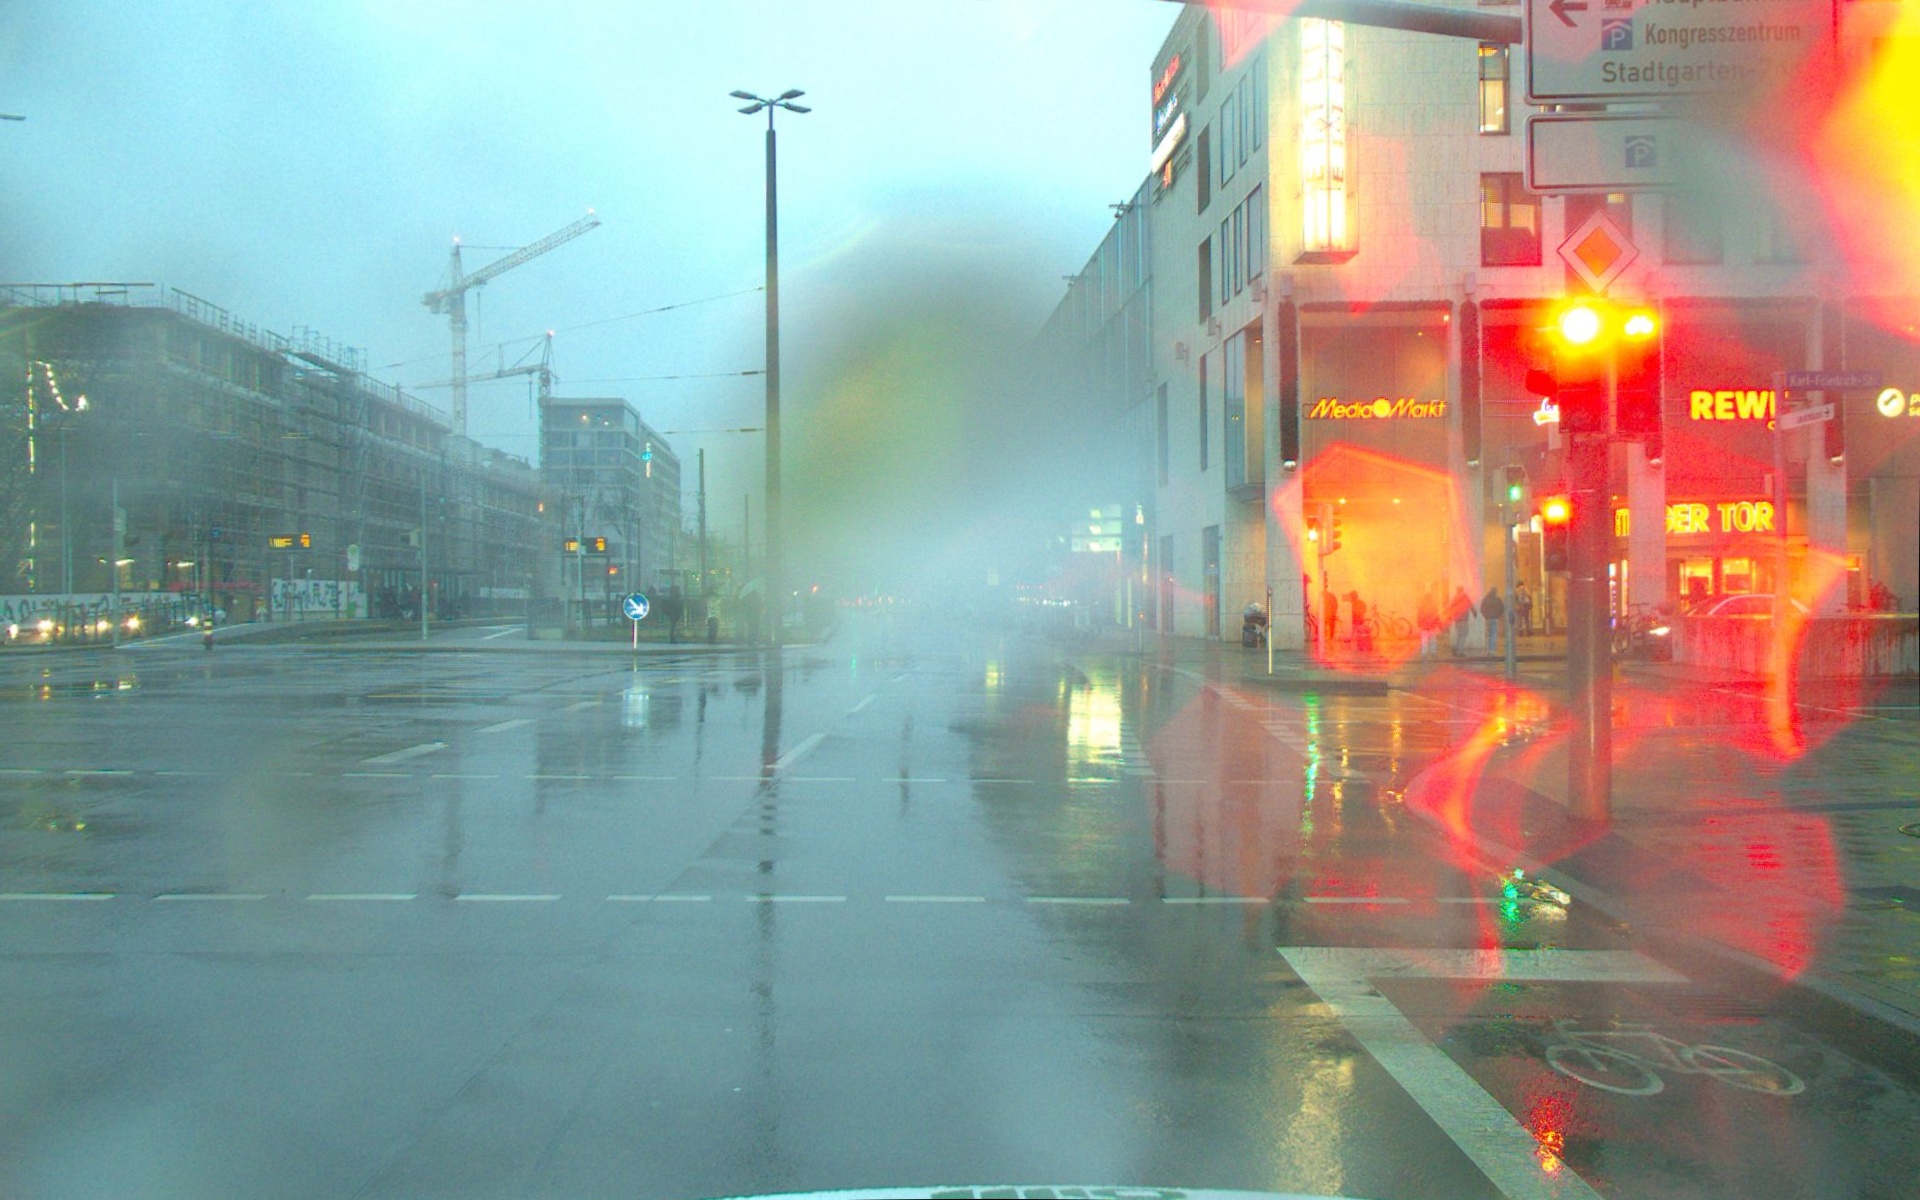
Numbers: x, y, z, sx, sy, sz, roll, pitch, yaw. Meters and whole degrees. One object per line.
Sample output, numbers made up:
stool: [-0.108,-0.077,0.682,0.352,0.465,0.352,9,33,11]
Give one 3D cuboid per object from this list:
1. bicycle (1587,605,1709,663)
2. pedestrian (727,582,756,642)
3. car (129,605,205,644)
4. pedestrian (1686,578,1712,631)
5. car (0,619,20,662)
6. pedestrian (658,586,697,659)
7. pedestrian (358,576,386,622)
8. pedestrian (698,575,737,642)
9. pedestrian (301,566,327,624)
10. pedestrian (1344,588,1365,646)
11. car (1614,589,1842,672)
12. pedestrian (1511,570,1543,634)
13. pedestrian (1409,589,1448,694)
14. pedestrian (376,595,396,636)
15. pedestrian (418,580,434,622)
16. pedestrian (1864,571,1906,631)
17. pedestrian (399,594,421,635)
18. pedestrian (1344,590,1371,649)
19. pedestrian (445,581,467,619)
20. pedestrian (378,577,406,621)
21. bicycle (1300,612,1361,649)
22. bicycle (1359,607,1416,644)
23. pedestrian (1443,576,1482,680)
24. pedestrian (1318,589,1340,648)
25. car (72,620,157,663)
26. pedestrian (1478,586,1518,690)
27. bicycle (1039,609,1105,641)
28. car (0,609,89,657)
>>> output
bicycle: [17.197,0.843,41.349,2.659,1.383,0.957,-1,-1,-4]
pedestrian: [-6.326,0.336,47.848,0.601,1.715,0.575,0,-1,41]
car: [-38.247,1.175,79.878,1.954,1.822,3.996,1,0,-4]
pedestrian: [24.315,0.148,54.391,0.721,1.748,0.738,-1,-1,27]
car: [-36.411,1.523,60.535,2.038,1.557,4.604,-1,0,-10]
pedestrian: [-8.067,0.638,47.231,0.771,2.049,0.724,0,-1,41]
pedestrian: [-26.854,-0.035,75.525,0.923,2.049,1.093,1,-1,-5]
pedestrian: [-6.797,0.239,46.369,0.813,1.863,0.777,1,-1,-31]
pedestrian: [-26.689,-0.208,68.346,0.750,2.364,0.762,1,-2,-1]
pedestrian: [11.630,0.511,48.749,0.476,1.692,0.457,-1,-1,30]
car: [16.226,0.627,35.094,3.905,1.646,2.000,1,0,0]
pedestrian: [18.504,0.067,53.975,0.828,2.049,0.698,-1,0,8]
pedestrian: [11.266,0.982,39.793,0.700,2.484,0.758,1,-1,-1]
pedestrian: [-26.606,0.722,76.632,0.684,1.913,0.553,1,-1,-2]
pedestrian: [-25.946,0.058,80.394,0.559,2.002,0.664,2,-1,-7]
pedestrian: [26.866,0.032,48.039,0.875,1.714,0.528,-1,-1,-1]
pedestrian: [-25.738,0.682,77.372,0.750,1.931,0.762,1,-2,-1]
pedestrian: [11.724,0.574,48.783,0.624,1.739,0.573,-1,0,-2]
pedestrian: [-27.730,0.016,90.979,0.924,2.049,1.092,1,-1,-8]
pedestrian: [-26.833,-0.023,78.137,0.923,2.049,1.093,1,-1,-3]
bicycle: [11.387,0.936,50.854,1.733,1.088,0.524,1,-1,-7]
bicycle: [13.174,0.784,51.000,1.614,1.088,0.524,1,-1,-5]
pedestrian: [12.137,0.669,39.990,0.675,2.484,0.758,1,-1,-1]
pedestrian: [11.196,0.573,50.232,0.587,1.775,0.525,1,-1,7]
car: [-37.934,1.835,74.329,1.954,1.822,3.996,1,0,-4]
pedestrian: [13.010,0.914,39.993,0.679,2.491,0.791,1,-1,-1]
bicycle: [4.159,0.925,61.623,2.393,1.174,0.674,-1,-1,-2]
car: [-37.028,1.319,66.935,1.830,1.860,3.993,1,0,-8]
